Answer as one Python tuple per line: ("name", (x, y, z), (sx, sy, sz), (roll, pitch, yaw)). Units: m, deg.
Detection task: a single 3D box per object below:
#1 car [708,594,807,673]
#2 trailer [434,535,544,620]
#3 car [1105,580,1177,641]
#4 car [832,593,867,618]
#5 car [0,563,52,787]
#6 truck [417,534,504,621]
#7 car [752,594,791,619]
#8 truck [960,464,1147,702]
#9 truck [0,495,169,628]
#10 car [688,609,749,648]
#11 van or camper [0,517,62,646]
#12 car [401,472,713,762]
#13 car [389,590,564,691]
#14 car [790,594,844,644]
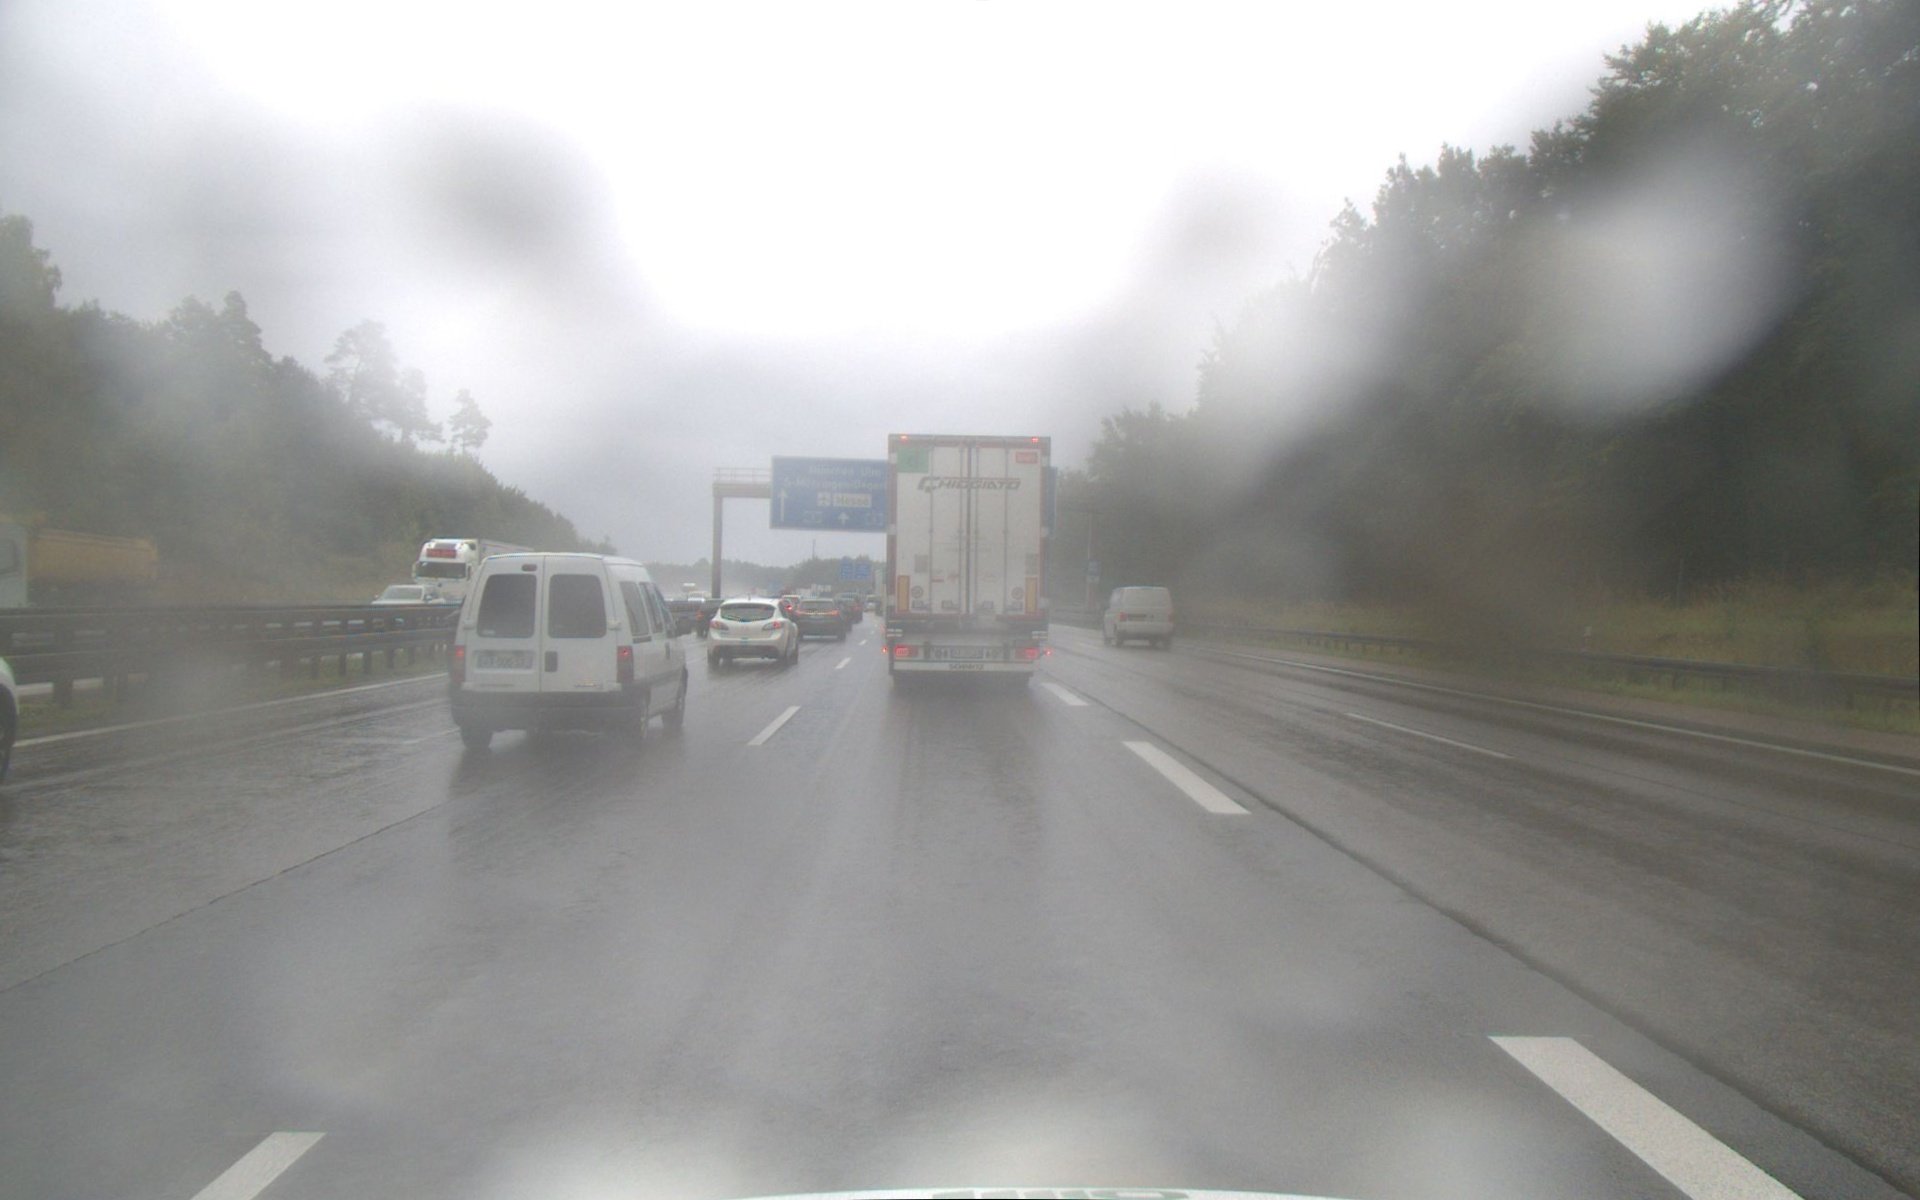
("car", (-4.472, 0.694, 37.043), (1.808, 1.619, 4.071), (1, 0, -2))
("trailer", (-24.846, -1.121, 88.032), (2.490, 4.096, 13.843), (1, 0, -3))
("car", (6.060, 0.321, 55.876), (1.949, 1.954, 4.767), (1, 0, 0))
("car", (-6.525, 0.306, 98.052), (1.808, 1.354, 4.465), (1, 0, -1))
("car", (-7.824, 0.545, 10.371), (1.808, 1.619, 4.466), (1, 0, -1))
("truck", (-24.486, -1.077, 81.381), (2.489, 4.096, 6.321), (1, 0, -2))
("car", (-10.821, 0.355, 95.332), (1.808, 1.354, 4.465), (1, 0, -1))
("truck", (1.571, -0.245, 31.125), (2.813, 3.624, 11.303), (1, 0, 1))
("truck", (-27.021, -1.057, 48.329), (2.468, 3.544, 11.716), (1, 0, -2))
("car", (-9.436, 1.095, 64.945), (1.808, 1.354, 4.465), (1, 0, -1))
("van or camper", (-22.771, -0.423, 36.126), (2.122, 2.920, 8.000), (1, 0, -2))
("car", (-4.059, 0.133, 17.657), (2.168, 2.618, 5.014), (1, 0, -1))
("car", (-8.496, 0.651, 29.484), (1.808, 1.619, 4.466), (1, 0, 0))
("car", (-5.010, 0.645, 58.460), (1.809, 1.619, 4.463), (1, 0, -4))
